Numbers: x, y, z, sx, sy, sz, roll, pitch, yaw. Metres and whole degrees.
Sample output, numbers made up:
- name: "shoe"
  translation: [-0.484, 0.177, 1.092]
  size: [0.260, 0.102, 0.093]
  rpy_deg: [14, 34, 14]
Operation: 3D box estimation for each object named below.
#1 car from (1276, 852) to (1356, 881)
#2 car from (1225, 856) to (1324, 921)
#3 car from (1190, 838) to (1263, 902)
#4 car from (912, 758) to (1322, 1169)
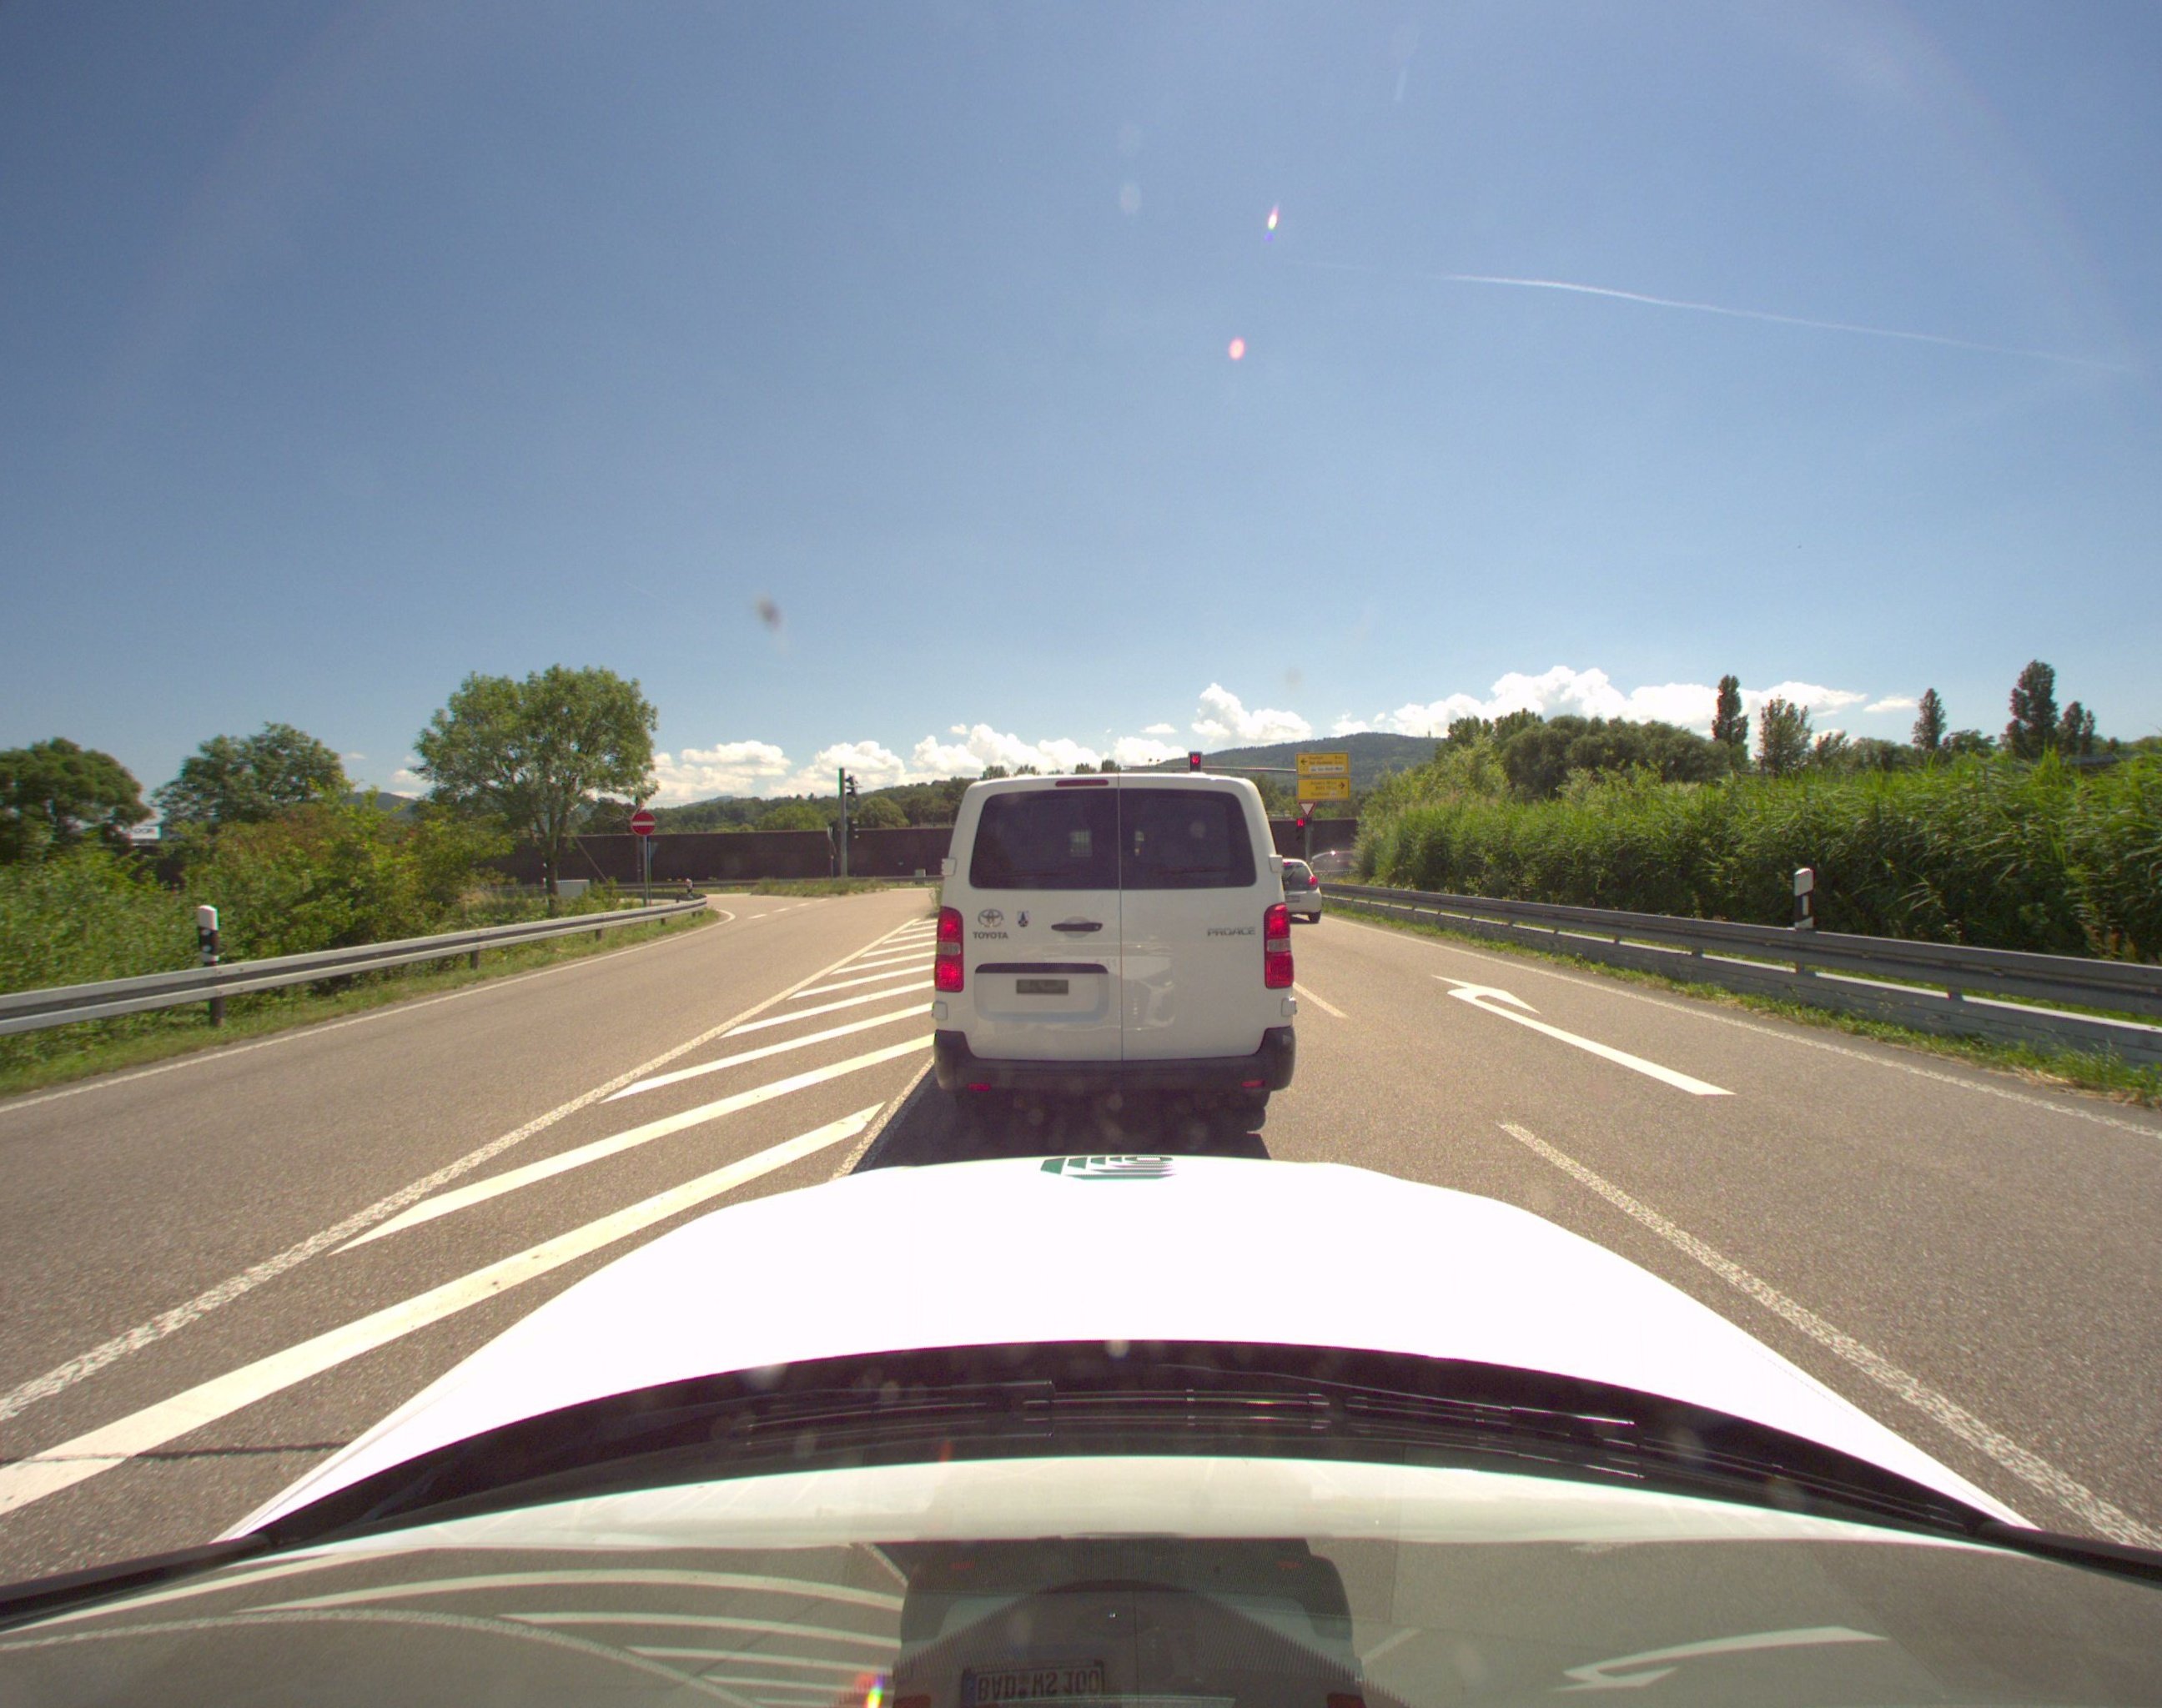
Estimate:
- name: "car"
  translation: [14.277, 0.739, 49.626]
  size: [4.298, 1.656, 1.999]
  rpy_deg: [-1, -1, -2]
- name: "car"
  translation: [4.572, 0.770, 19.655]
  size: [1.650, 1.431, 3.366]
  rpy_deg: [-1, 0, 1]
- name: "car"
  translation: [4.933, 0.529, 28.218]
  size: [1.920, 2.000, 4.842]
  rpy_deg: [-1, 0, 3]
- name: "car"
  translation: [0.209, 0.521, 5.772]
  size: [1.880, 1.886, 4.001]
  rpy_deg: [-1, 0, 1]
